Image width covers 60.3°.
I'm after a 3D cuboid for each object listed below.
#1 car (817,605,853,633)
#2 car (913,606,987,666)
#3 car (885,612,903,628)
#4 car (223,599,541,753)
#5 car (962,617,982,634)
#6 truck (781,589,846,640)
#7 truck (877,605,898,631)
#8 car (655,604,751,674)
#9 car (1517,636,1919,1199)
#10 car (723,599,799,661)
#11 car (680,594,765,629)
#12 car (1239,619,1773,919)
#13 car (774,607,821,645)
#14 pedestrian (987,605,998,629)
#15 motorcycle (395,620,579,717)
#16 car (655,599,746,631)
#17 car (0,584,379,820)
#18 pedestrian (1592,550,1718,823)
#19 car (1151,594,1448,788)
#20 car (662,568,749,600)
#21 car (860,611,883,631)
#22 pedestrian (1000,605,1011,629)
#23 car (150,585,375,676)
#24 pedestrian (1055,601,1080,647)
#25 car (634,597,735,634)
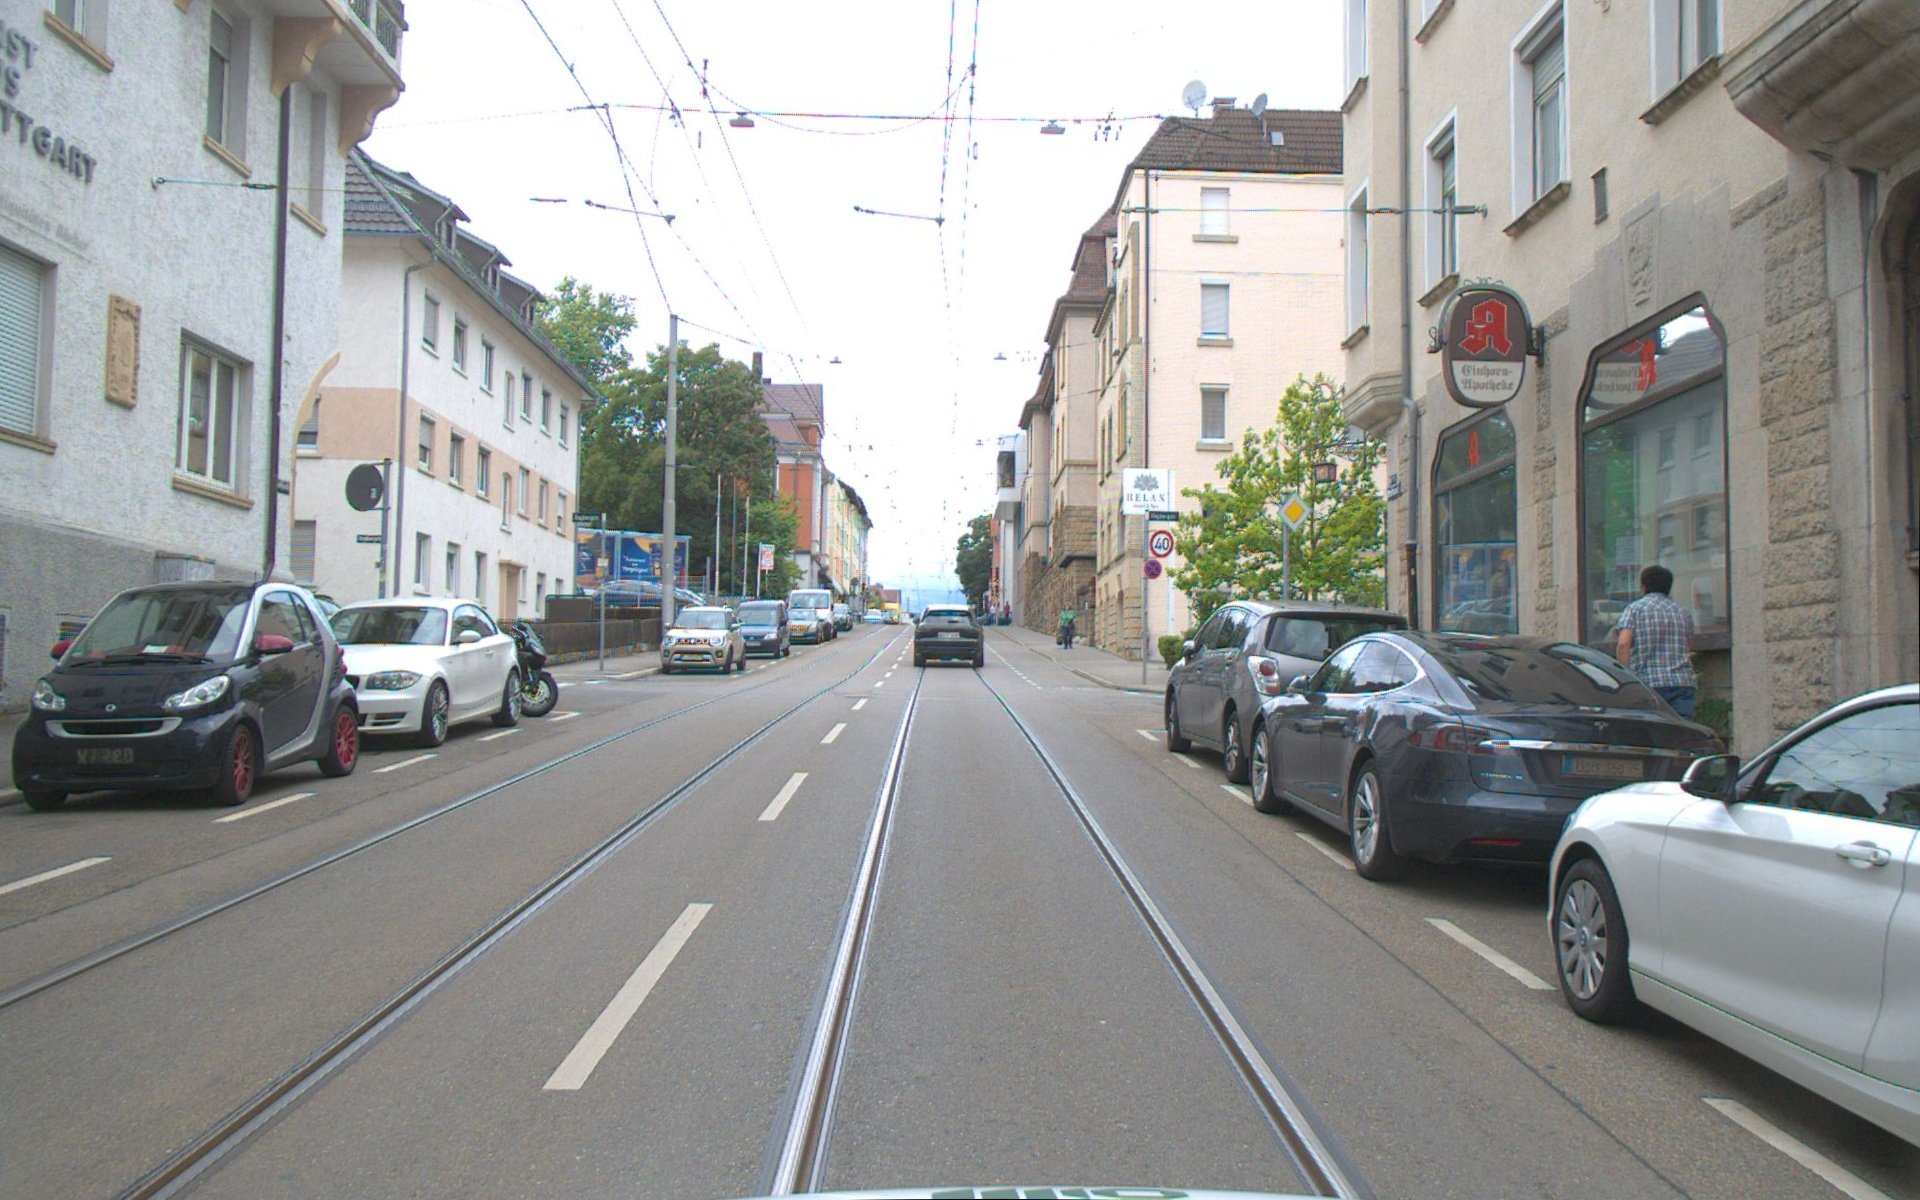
[{"bbox_3d":[-6.862,1.047,91.282,1.677,1.472,4.289,1,0,0],"label":"car"},{"bbox_3d":[-0.281,0.976,46.730,1.953,1.590,4.289,1,0,0],"label":"car"},{"bbox_3d":[-7.029,2.129,177.042,1.817,1.635,4.296,1,0,-1],"label":"car"},{"bbox_3d":[-5.783,0.698,17.151,1.743,1.381,4.291,1,0,0],"label":"car"},{"bbox_3d":[1.183,2.496,162.593,1.953,1.590,4.289,1,0,0],"label":"car"},{"bbox_3d":[-6.679,0.644,76.182,2.233,2.226,8.024,1,0,0],"label":"truck"},{"bbox_3d":[-8.615,2.145,197.394,2.255,3.090,9.031,1,-1,-1],"label":"truck"},{"bbox_3d":[-6.158,0.905,39.956,1.662,1.583,3.850,1,0,1],"label":"car"},{"bbox_3d":[3.336,0.895,4.949,1.715,1.415,4.306,3,0,-2],"label":"car"},{"bbox_3d":[-6.057,0.894,50.888,1.708,1.766,4.519,-1,0,1],"label":"car"},{"bbox_3d":[-11.469,0.549,79.914,3.895,1.578,1.681,1,0,-16],"label":"car"},{"bbox_3d":[3.187,0.892,10.777,1.744,1.415,4.690,3,0,-2],"label":"car"},{"bbox_3d":[-6.764,1.063,69.191,1.663,1.458,4.479,-1,0,-2],"label":"car"},{"bbox_3d":[2.347,1.208,118.910,0.775,1.696,0.799,1,0,1],"label":"pedestrian"},{"bbox_3d":[-5.850,0.840,20.472,2.063,1.154,0.767,-1,0,13],"label":"motorcycle"},{"bbox_3d":[-11.591,0.661,74.012,3.797,1.381,1.687,1,0,-2],"label":"car"},{"bbox_3d":[-5.685,0.672,12.261,1.662,1.494,3.023,-2,0,0],"label":"car"},{"bbox_3d":[4.820,0.587,11.499,0.587,1.834,0.631,1,-1,-1],"label":"pedestrian"},{"bbox_3d":[3.136,0.774,16.243,1.700,1.564,4.571,3,0,-3],"label":"car"},{"bbox_3d":[-11.765,-0.743,76.662,3.797,1.381,1.687,1,0,-2],"label":"car"},{"bbox_3d":[-7.733,1.800,144.289,1.817,1.635,4.296,1,0,-1],"label":"car"},{"bbox_3d":[3.283,1.214,118.902,0.775,1.696,0.799,1,0,1],"label":"pedestrian"},{"bbox_3d":[-13.267,0.605,31.613,3.442,1.519,1.776,2,-6,0],"label":"car"},{"bbox_3d":[4.035,0.910,62.339,0.853,1.716,0.663,-1,0,-3],"label":"pedestrian"},{"bbox_3d":[-11.547,0.655,69.471,3.978,1.470,1.687,1,0,-2],"label":"car"}]
